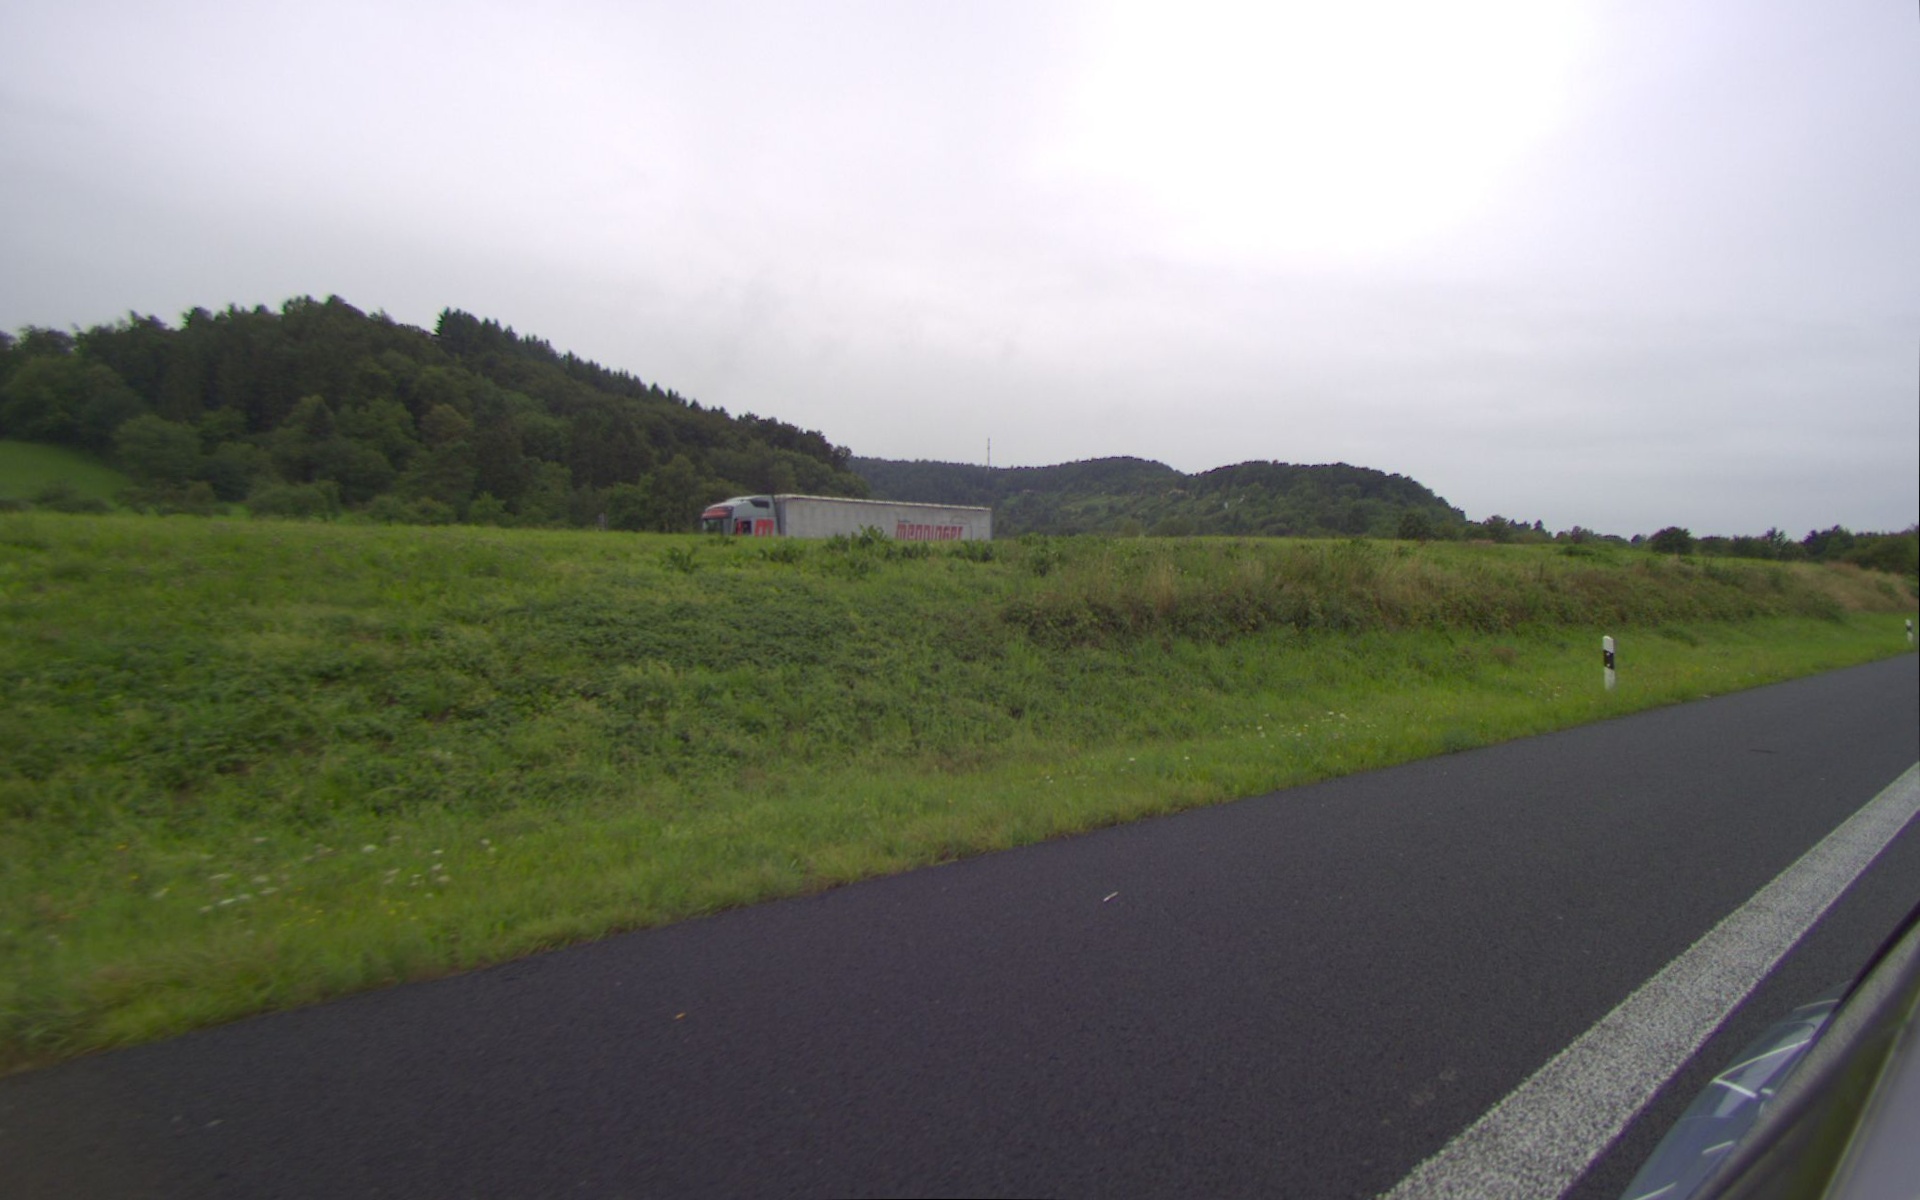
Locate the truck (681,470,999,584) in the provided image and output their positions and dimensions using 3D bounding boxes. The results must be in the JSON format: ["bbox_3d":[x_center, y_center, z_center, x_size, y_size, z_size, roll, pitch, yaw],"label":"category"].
[{"bbox_3d":[-5.066,-3.114,48.734,3.821,4.597,16.618,1,1,44],"label":"truck"}]

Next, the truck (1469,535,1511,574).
[{"bbox_3d":[58.314,-4.946,111.362,2.509,4.037,5.832,-1,0,45],"label":"truck"}]
